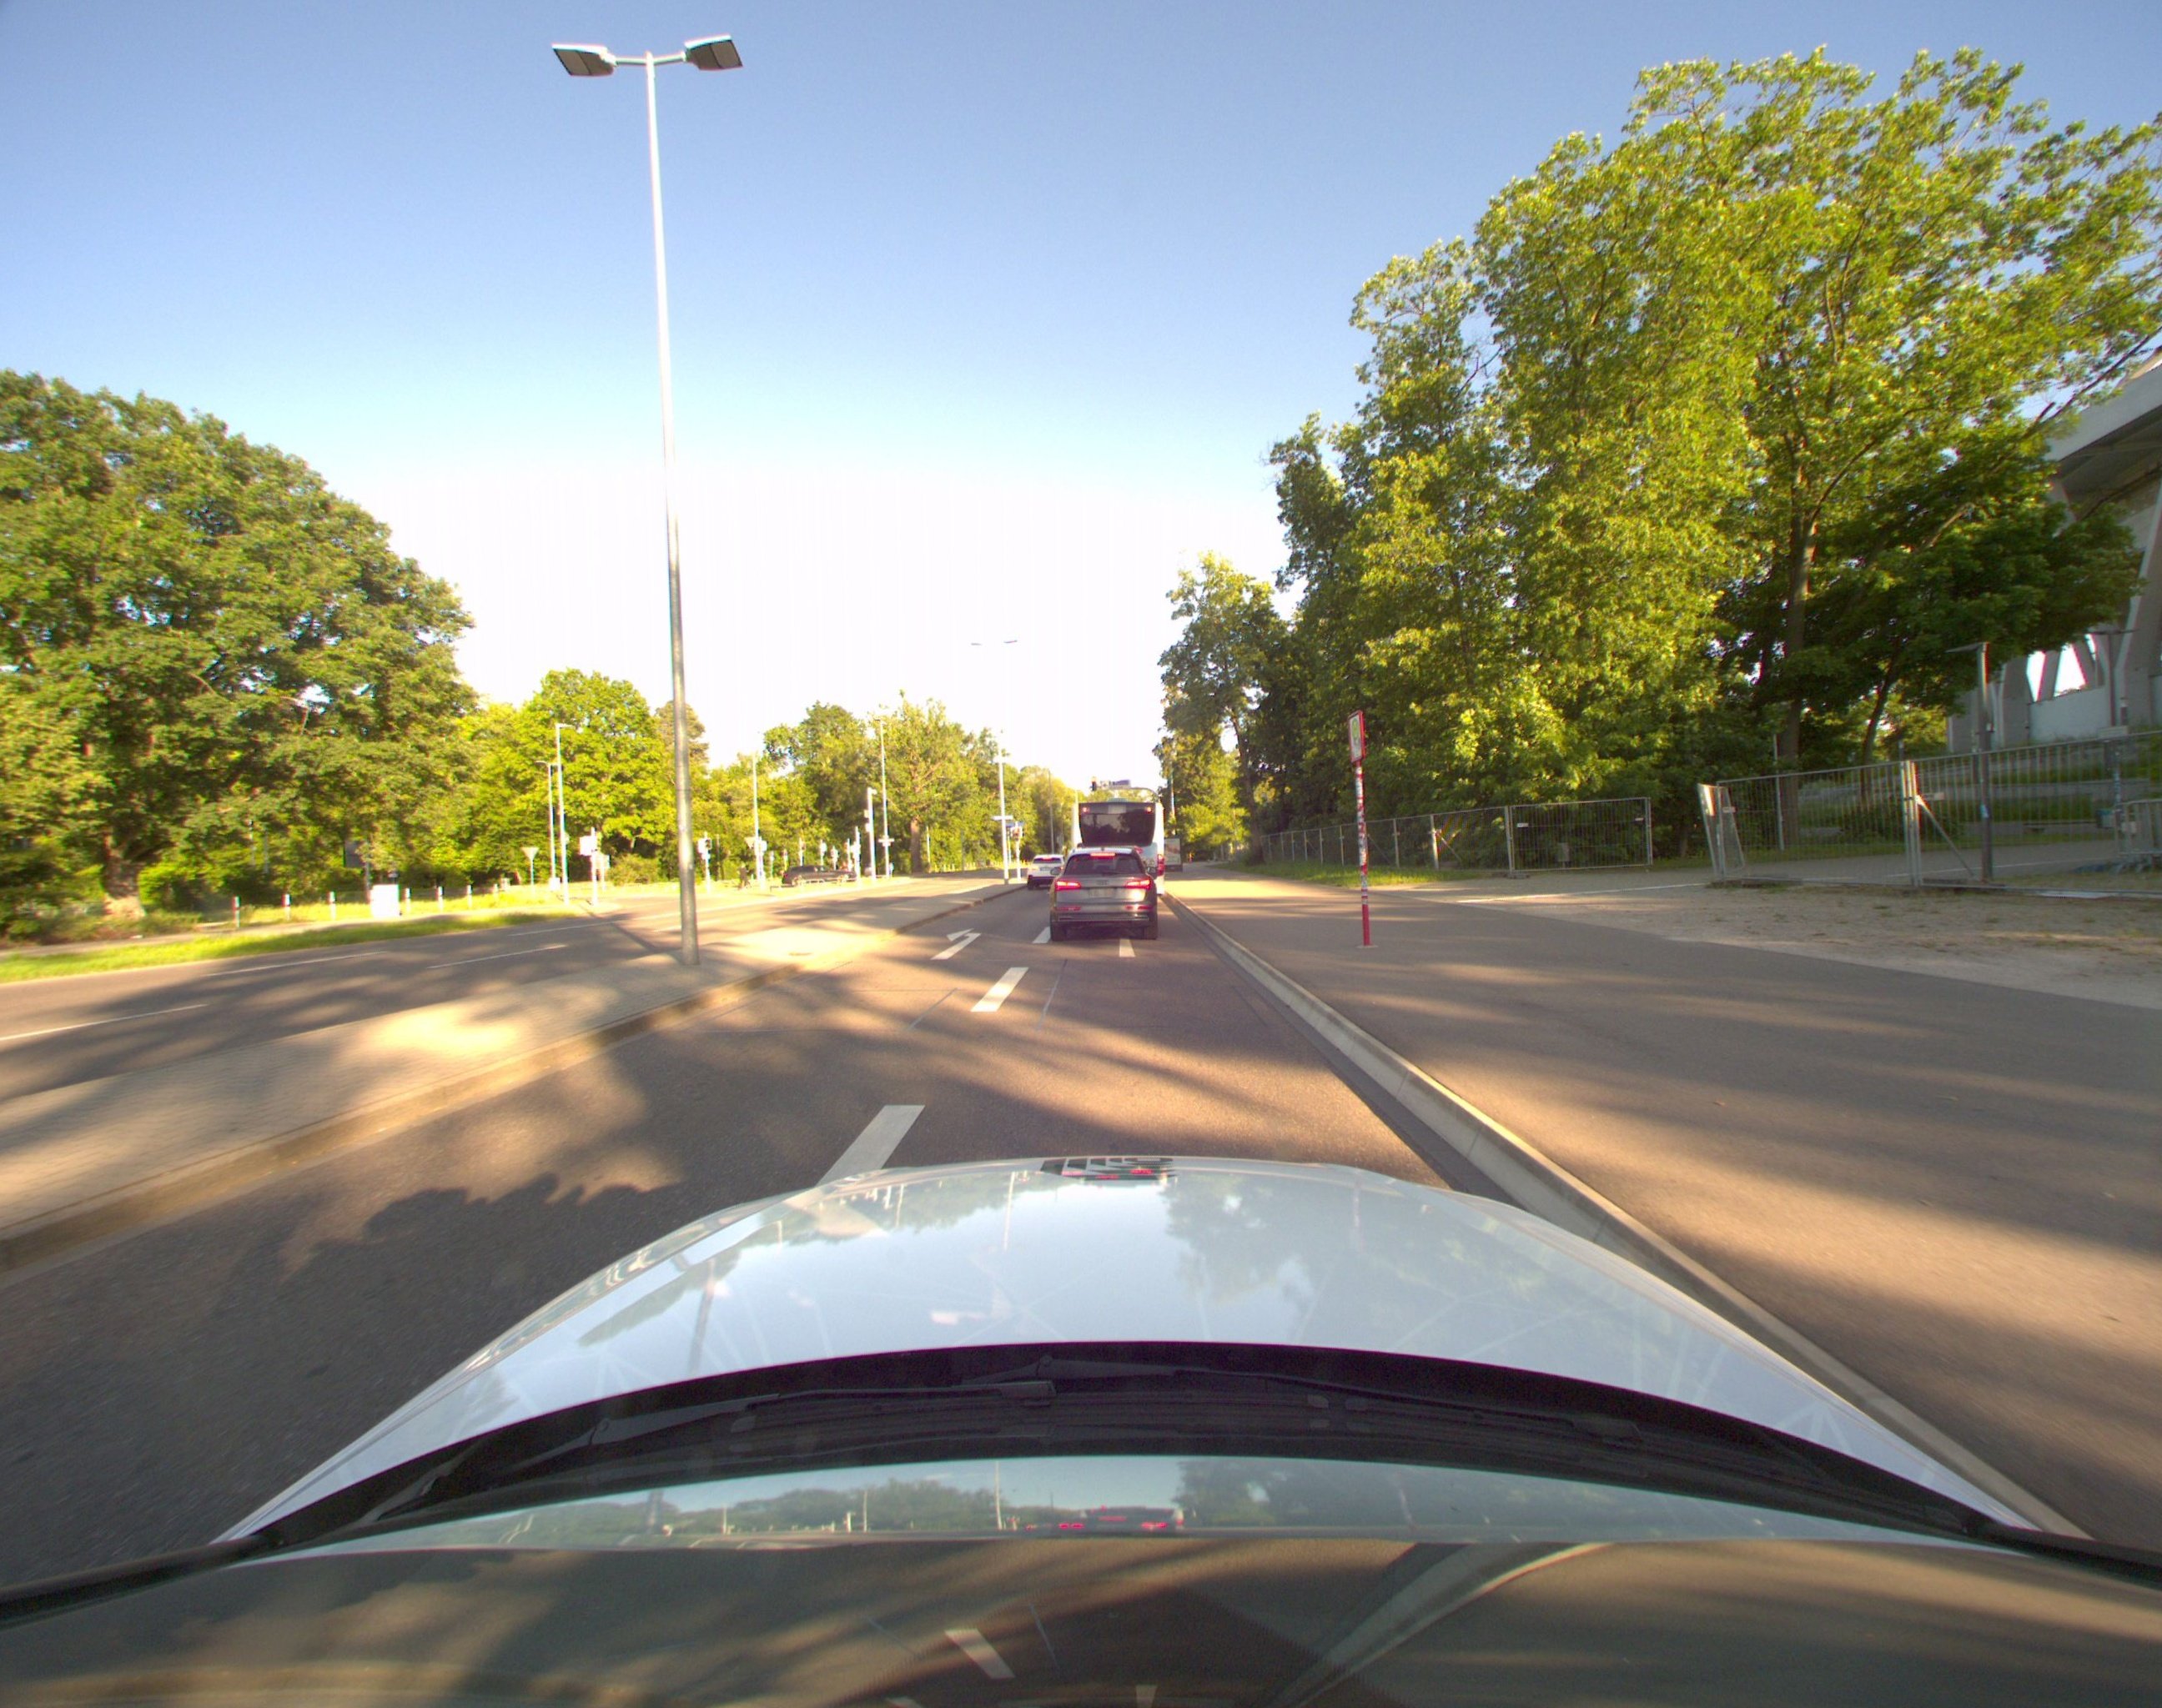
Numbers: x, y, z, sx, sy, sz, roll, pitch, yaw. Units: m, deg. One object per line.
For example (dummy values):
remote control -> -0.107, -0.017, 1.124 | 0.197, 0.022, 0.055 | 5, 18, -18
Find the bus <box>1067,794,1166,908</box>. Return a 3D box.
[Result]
bus -> 1.137, -0.040, 26.326 | 2.584, 2.989, 9.331 | -1, -1, 2

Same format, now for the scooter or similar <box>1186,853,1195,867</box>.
scooter or similar -> 12.121, 0.678, 90.002 | 0.506, 1.444, 2.020 | -3, 0, -3

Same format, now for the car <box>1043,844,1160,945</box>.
car -> 0.424, 0.664, 15.359 | 1.891, 1.632, 4.002 | -1, 0, 2

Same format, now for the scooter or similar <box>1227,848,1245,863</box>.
scooter or similar -> 16.829, 0.205, 88.589 | 0.543, 1.567, 1.999 | -3, 0, -37

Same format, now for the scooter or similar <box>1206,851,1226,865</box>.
scooter or similar -> 14.478, 0.428, 87.377 | 2.024, 1.444, 0.601 | -3, 0, -23

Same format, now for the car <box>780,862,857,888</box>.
car -> -18.392, 1.465, 57.248 | 4.773, 1.498, 1.993 | -3, 0, -10

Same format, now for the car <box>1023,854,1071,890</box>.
car -> -1.490, 0.771, 37.232 | 1.829, 1.518, 4.002 | -2, 0, 2

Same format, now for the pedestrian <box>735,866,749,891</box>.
pedestrian -> -21.887, 1.601, 52.639 | 0.652, 1.560, 0.533 | -3, 0, -40
